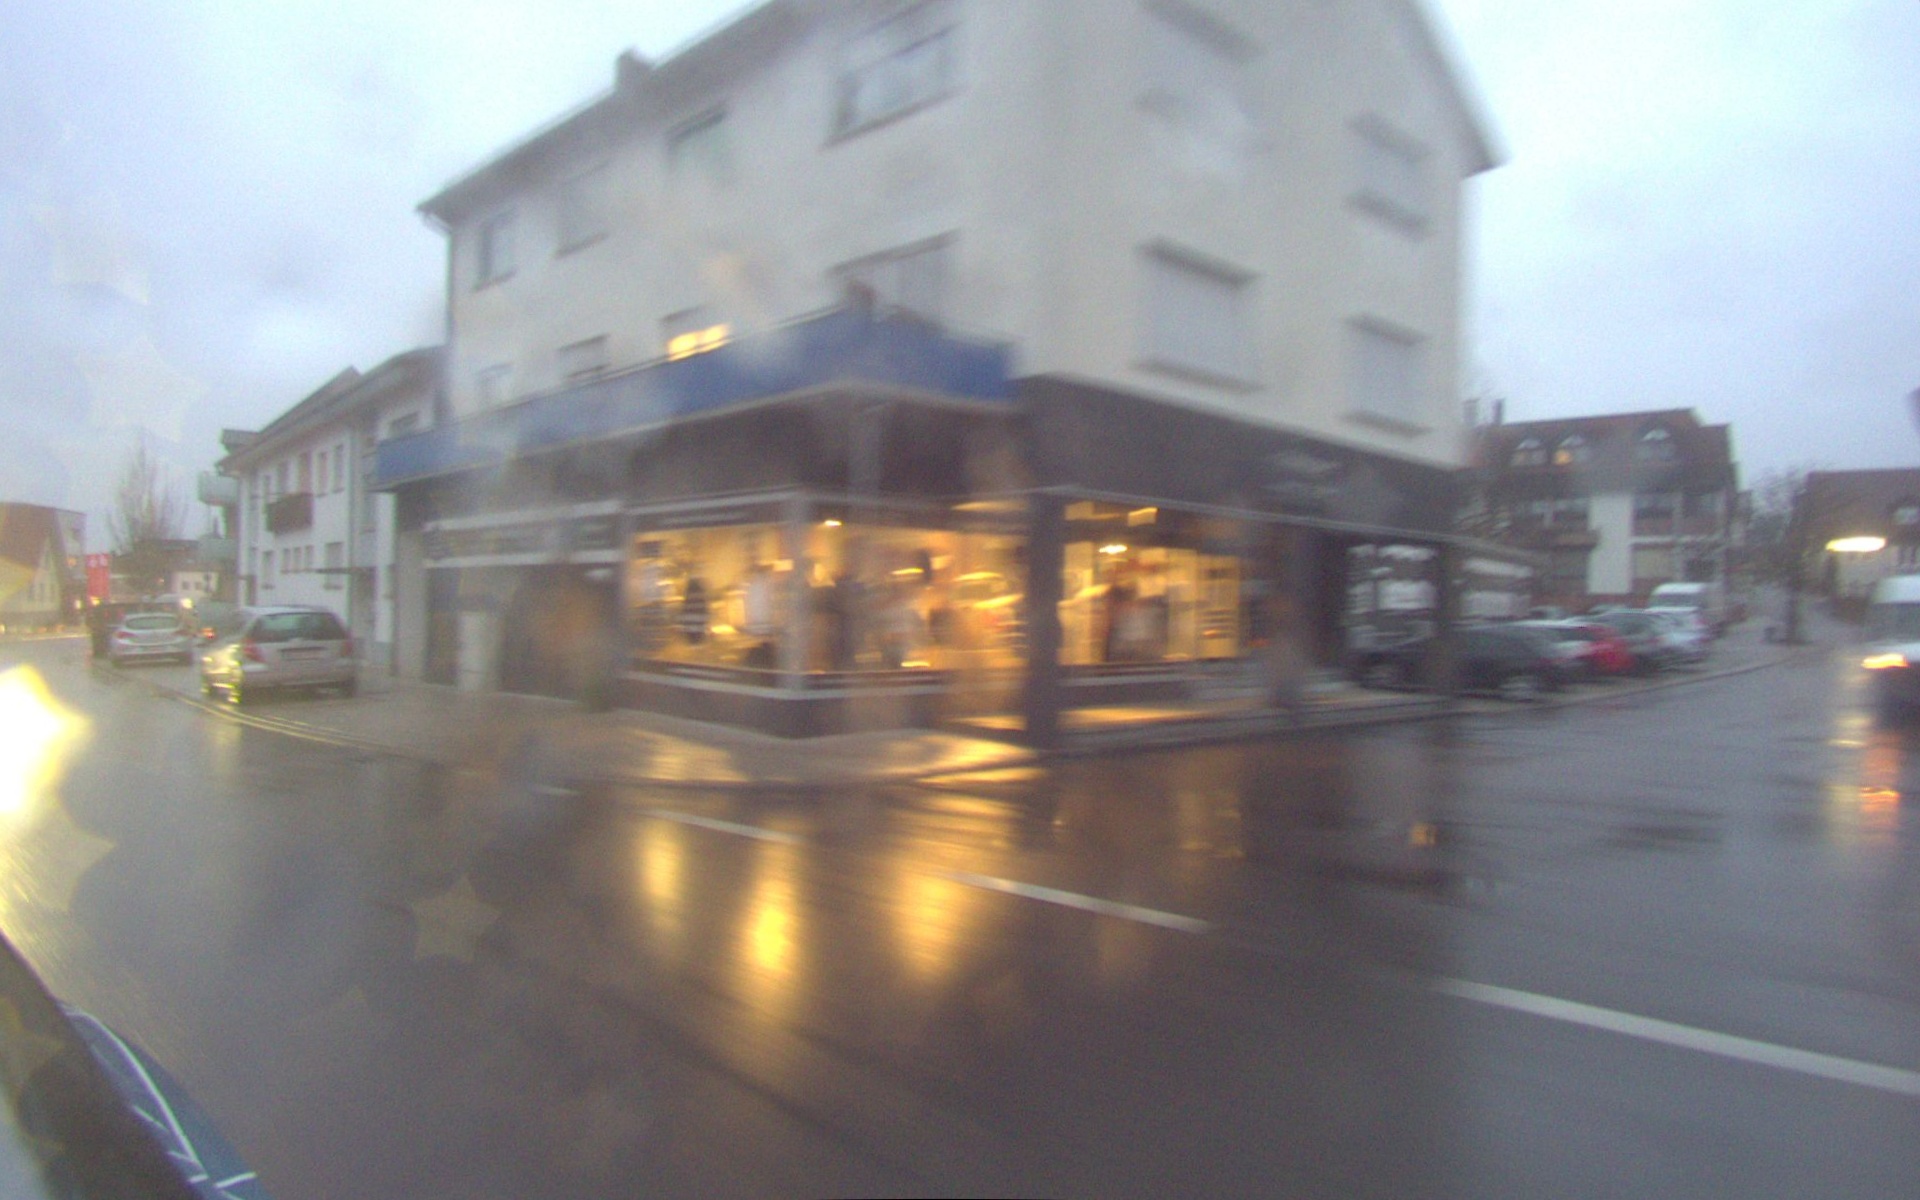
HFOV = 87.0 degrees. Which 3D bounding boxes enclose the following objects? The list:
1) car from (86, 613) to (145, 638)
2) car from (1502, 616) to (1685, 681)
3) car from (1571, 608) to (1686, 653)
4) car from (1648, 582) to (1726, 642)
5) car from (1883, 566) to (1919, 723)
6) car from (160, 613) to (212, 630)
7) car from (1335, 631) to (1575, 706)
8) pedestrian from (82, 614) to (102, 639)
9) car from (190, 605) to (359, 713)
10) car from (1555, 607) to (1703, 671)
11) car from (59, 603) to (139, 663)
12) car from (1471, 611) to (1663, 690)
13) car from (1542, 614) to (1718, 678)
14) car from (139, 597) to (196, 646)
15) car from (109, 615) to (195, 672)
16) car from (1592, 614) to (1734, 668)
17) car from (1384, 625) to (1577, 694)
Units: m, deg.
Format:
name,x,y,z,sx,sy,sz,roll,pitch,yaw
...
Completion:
name,x,y,z,sx,sy,sz,roll,pitch,yaw
car,-51.817,1.553,62.178,1.965,1.511,4.013,1,-1,-28
car,17.090,1.332,27.532,3.947,1.665,1.689,-2,-3,24
car,29.468,1.370,44.755,3.947,1.898,1.689,-2,-3,24
car,34.166,0.600,47.491,4.923,2.686,2.002,2,-2,-43
car,19.114,0.849,19.272,1.978,2.682,6.666,1,-1,45
car,-82.320,2.319,107.724,3.932,1.660,1.866,3,-3,-15
car,10.459,1.444,21.695,4.423,1.475,1.689,-2,-3,24
pedestrian,-58.869,1.822,68.629,0.641,1.674,0.649,1,-3,3
car,-12.001,0.938,17.621,3.817,1.626,1.701,-1,1,45
car,22.974,1.356,34.946,3.947,2.110,1.689,-2,-3,24
car,-30.161,1.140,35.581,1.855,1.914,4.844,-1,-1,-37
car,15.339,1.293,25.831,3.947,1.885,1.689,-2,-3,24
car,19.293,1.349,29.364,3.947,1.747,1.689,-2,-3,24
car,-46.822,1.249,59.877,2.013,2.679,4.222,-2,0,-31
car,-23.410,1.197,29.269,1.772,1.467,4.401,-1,0,-41
car,25.765,1.529,37.237,3.947,1.898,1.689,-2,-3,24
car,12.326,1.411,24.239,3.947,1.550,1.689,-2,-3,24
